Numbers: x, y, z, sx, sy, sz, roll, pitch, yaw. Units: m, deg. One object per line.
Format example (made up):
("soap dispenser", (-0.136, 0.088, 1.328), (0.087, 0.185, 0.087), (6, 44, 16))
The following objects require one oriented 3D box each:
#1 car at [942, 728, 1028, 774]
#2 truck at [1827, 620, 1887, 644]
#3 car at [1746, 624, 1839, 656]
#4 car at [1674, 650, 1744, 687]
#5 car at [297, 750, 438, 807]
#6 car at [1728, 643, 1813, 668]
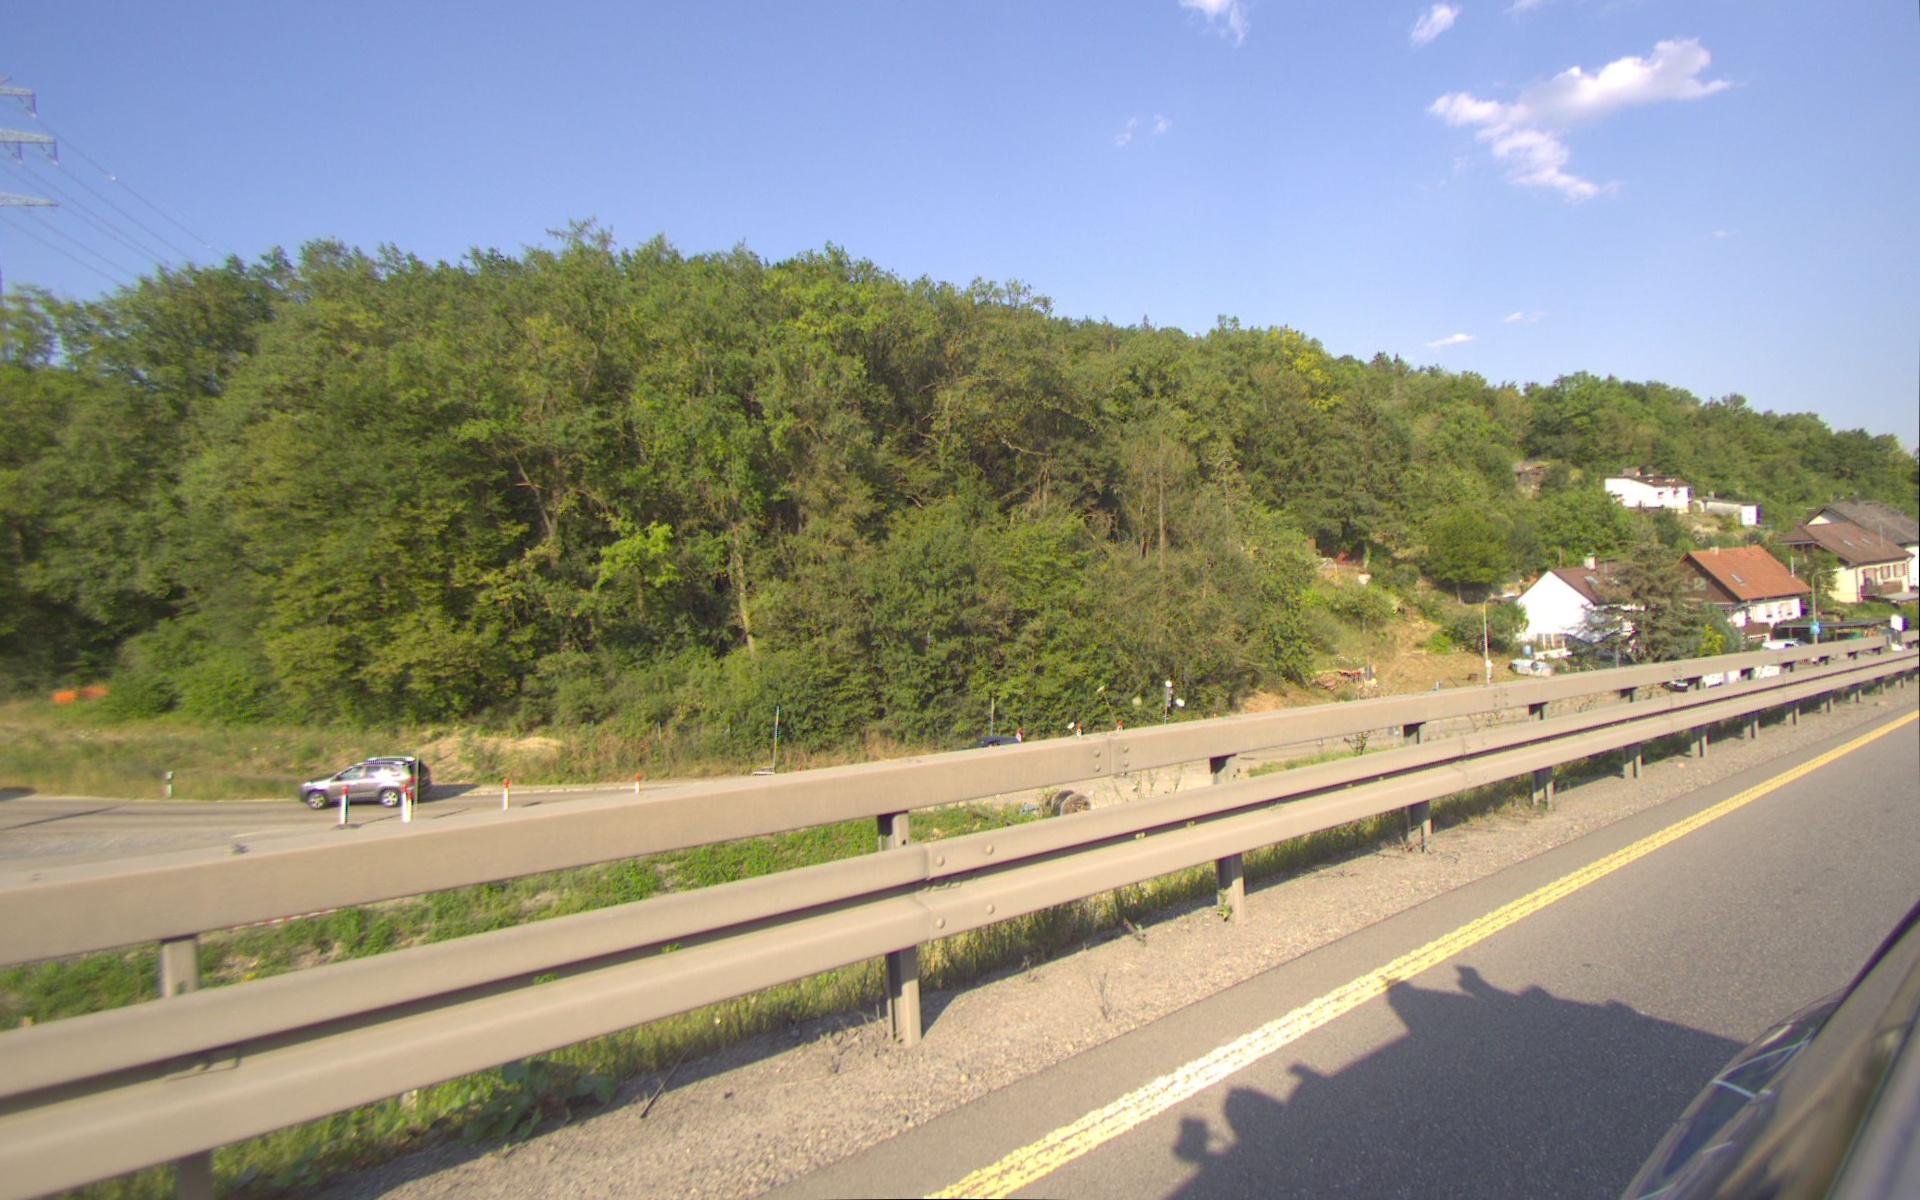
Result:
("car", (1.131, 6.917, 46.500), (3.541, 1.619, 1.776), (-2, -2, -17))
("truck", (77.369, 2.739, 87.378), (1.970, 1.760, 3.984), (-7, -2, 12))
("car", (68.197, 3.231, 82.992), (1.960, 2.292, 5.491), (-3, 1, -28))
("car", (51.586, 4.666, 69.685), (4.951, 2.010, 1.871), (-3, 3, -27))
("car", (-23.109, 6.953, 39.590), (4.408, 1.807, 1.870), (0, 0, -5))
("car", (65.266, 4.435, 81.576), (1.681, 1.576, 5.114), (-3, 1, -28))
